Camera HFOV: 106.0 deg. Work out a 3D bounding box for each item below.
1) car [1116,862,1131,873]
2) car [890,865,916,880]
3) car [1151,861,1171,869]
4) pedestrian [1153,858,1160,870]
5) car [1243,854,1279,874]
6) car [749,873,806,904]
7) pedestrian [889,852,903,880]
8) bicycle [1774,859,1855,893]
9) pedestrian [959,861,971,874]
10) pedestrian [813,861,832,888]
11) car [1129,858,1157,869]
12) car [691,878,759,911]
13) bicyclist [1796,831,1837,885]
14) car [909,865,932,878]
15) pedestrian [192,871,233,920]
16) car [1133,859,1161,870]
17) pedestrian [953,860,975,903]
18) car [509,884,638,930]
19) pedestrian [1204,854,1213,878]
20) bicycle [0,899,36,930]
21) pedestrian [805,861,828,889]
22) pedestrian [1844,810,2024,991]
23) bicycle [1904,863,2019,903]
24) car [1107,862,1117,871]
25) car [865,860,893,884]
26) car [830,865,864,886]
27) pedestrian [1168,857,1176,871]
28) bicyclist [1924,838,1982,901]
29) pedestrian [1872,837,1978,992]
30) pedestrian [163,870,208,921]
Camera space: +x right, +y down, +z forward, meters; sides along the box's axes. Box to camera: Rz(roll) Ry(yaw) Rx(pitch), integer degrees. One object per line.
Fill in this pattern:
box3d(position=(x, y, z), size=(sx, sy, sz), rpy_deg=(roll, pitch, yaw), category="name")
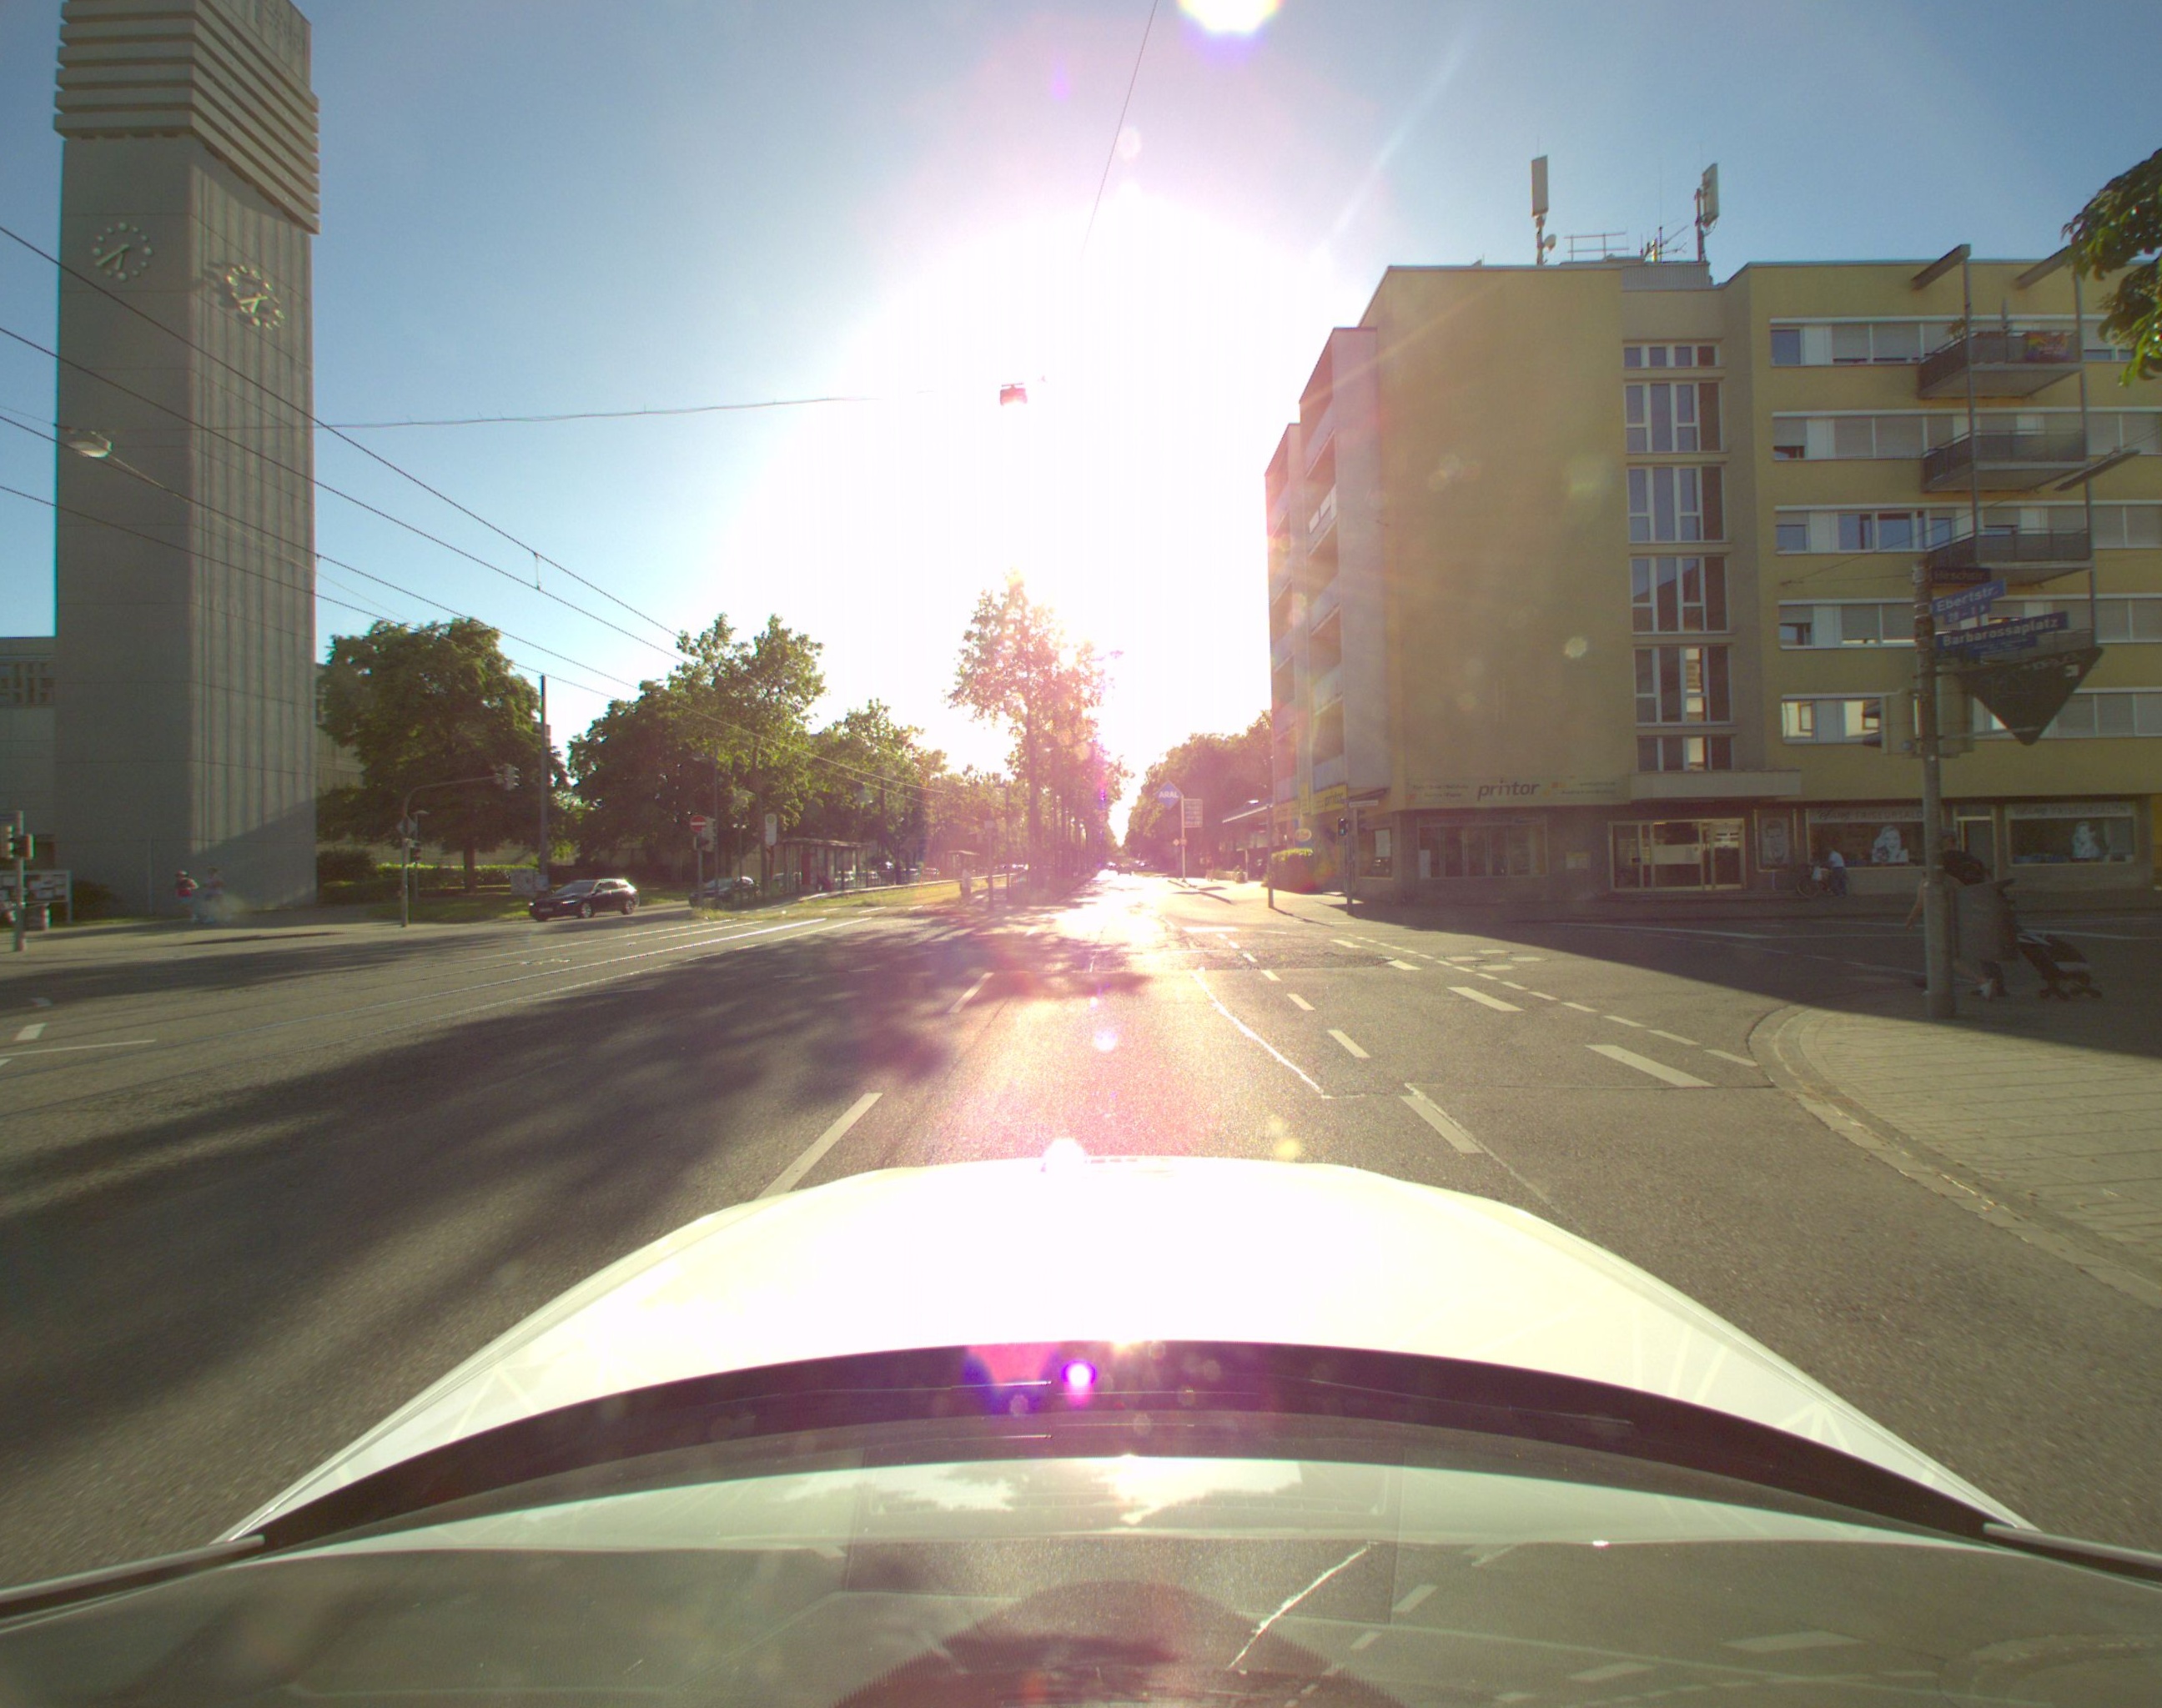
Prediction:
box3d(position=(5.350, 1.678, 103.008), size=(1.915, 1.411, 4.001), rpy_deg=(-1, 0, 2), category="car")
box3d(position=(-19.960, 2.062, 91.516), size=(1.706, 1.546, 3.938), rpy_deg=(-2, 0, 5), category="car")
box3d(position=(16.003, 2.202, 162.725), size=(4.207, 1.412, 1.700), rpy_deg=(-1, -1, -42), category="car")
box3d(position=(11.161, 1.435, 119.890), size=(0.715, 1.706, 0.647), rpy_deg=(-2, -1, -32), category="pedestrian")
box3d(position=(14.156, 0.795, 64.284), size=(1.717, 1.463, 3.999), rpy_deg=(-1, -1, -4), category="car")
box3d(position=(-15.844, 1.776, 42.686), size=(1.600, 1.427, 3.536), rpy_deg=(-2, 0, 0), category="car")
box3d(position=(-12.404, 0.812, 54.569), size=(0.717, 1.867, 0.637), rpy_deg=(-1, -1, 3), category="pedestrian")
box3d(position=(23.528, 0.689, 26.131), size=(2.075, 1.059, 0.641), rpy_deg=(0, -1, -3), category="bicycle")
box3d(position=(-11.697, 1.342, 82.032), size=(0.829, 1.261, 0.804), rpy_deg=(-1, -1, 31), category="pedestrian")
box3d(position=(-13.284, 1.054, 41.867), size=(0.691, 1.341, 0.735), rpy_deg=(-1, -1, 4), category="pedestrian")
box3d(position=(10.787, 1.643, 141.853), size=(4.693, 1.853, 1.810), rpy_deg=(-2, -1, -38), category="car")
box3d(position=(-14.410, 1.611, 33.069), size=(1.319, 1.204, 2.967), rpy_deg=(-1, -1, 2), category="car")
box3d(position=(23.601, 0.129, 26.146), size=(0.681, 1.679, 0.639), rpy_deg=(-1, -1, -3), category="bicyclist")
box3d(position=(-20.044, 2.163, 101.712), size=(1.706, 1.546, 4.204), rpy_deg=(-2, 0, 3), category="car")
box3d(position=(-30.457, 1.442, 28.568), size=(0.593, 1.681, 0.747), rpy_deg=(-1, -1, -4), category="pedestrian")
box3d(position=(10.645, 1.743, 131.378), size=(4.010, 1.469, 1.744), rpy_deg=(-4, 0, -30), category="car")
box3d(position=(-4.325, 1.000, 29.980), size=(0.661, 1.529, 0.534), rpy_deg=(-1, -1, -24), category="pedestrian")
box3d(position=(-19.306, 1.968, 31.261), size=(1.942, 1.442, 4.531), rpy_deg=(-1, 0, 2), category="car")
box3d(position=(9.156, 0.847, 58.416), size=(0.601, 1.701, 0.553), rpy_deg=(-1, -1, 6), category="pedestrian")
box3d(position=(-33.612, 1.902, 25.160), size=(0.444, 0.928, 1.698), rpy_deg=(-1, 0, -1), category="bicycle")
box3d(position=(-13.318, 1.047, 41.009), size=(0.726, 1.341, 0.777), rpy_deg=(-2, -1, 16), category="pedestrian")
box3d(position=(9.306, 0.482, 8.930), size=(0.788, 1.828, 1.028), rpy_deg=(-3, -2, -15), category="pedestrian")
box3d(position=(24.892, 0.804, 23.042), size=(2.255, 1.050, 0.848), rpy_deg=(-1, -1, 2), category="bicycle")
box3d(position=(5.777, 2.302, 152.755), size=(1.842, 1.535, 3.869), rpy_deg=(-1, 0, 3), category="car")
box3d(position=(-20.108, 1.756, 81.226), size=(1.707, 2.262, 3.934), rpy_deg=(-2, 0, 2), category="car")
box3d(position=(-19.915, 1.811, 69.551), size=(1.588, 1.636, 3.932), rpy_deg=(-2, 0, 2), category="car")
box3d(position=(11.978, 1.326, 107.195), size=(0.926, 1.885, 0.797), rpy_deg=(-1, -1, -12), category="pedestrian")
box3d(position=(24.674, 0.424, 23.053), size=(0.750, 1.716, 0.818), rpy_deg=(-1, 0, 3), category="bicyclist")
box3d(position=(8.813, 0.616, 8.515), size=(0.504, 1.546, 0.517), rpy_deg=(-3, -2, -15), category="pedestrian")
box3d(position=(-31.231, 1.447, 28.408), size=(0.593, 1.723, 0.879), rpy_deg=(-1, -1, -4), category="pedestrian")
